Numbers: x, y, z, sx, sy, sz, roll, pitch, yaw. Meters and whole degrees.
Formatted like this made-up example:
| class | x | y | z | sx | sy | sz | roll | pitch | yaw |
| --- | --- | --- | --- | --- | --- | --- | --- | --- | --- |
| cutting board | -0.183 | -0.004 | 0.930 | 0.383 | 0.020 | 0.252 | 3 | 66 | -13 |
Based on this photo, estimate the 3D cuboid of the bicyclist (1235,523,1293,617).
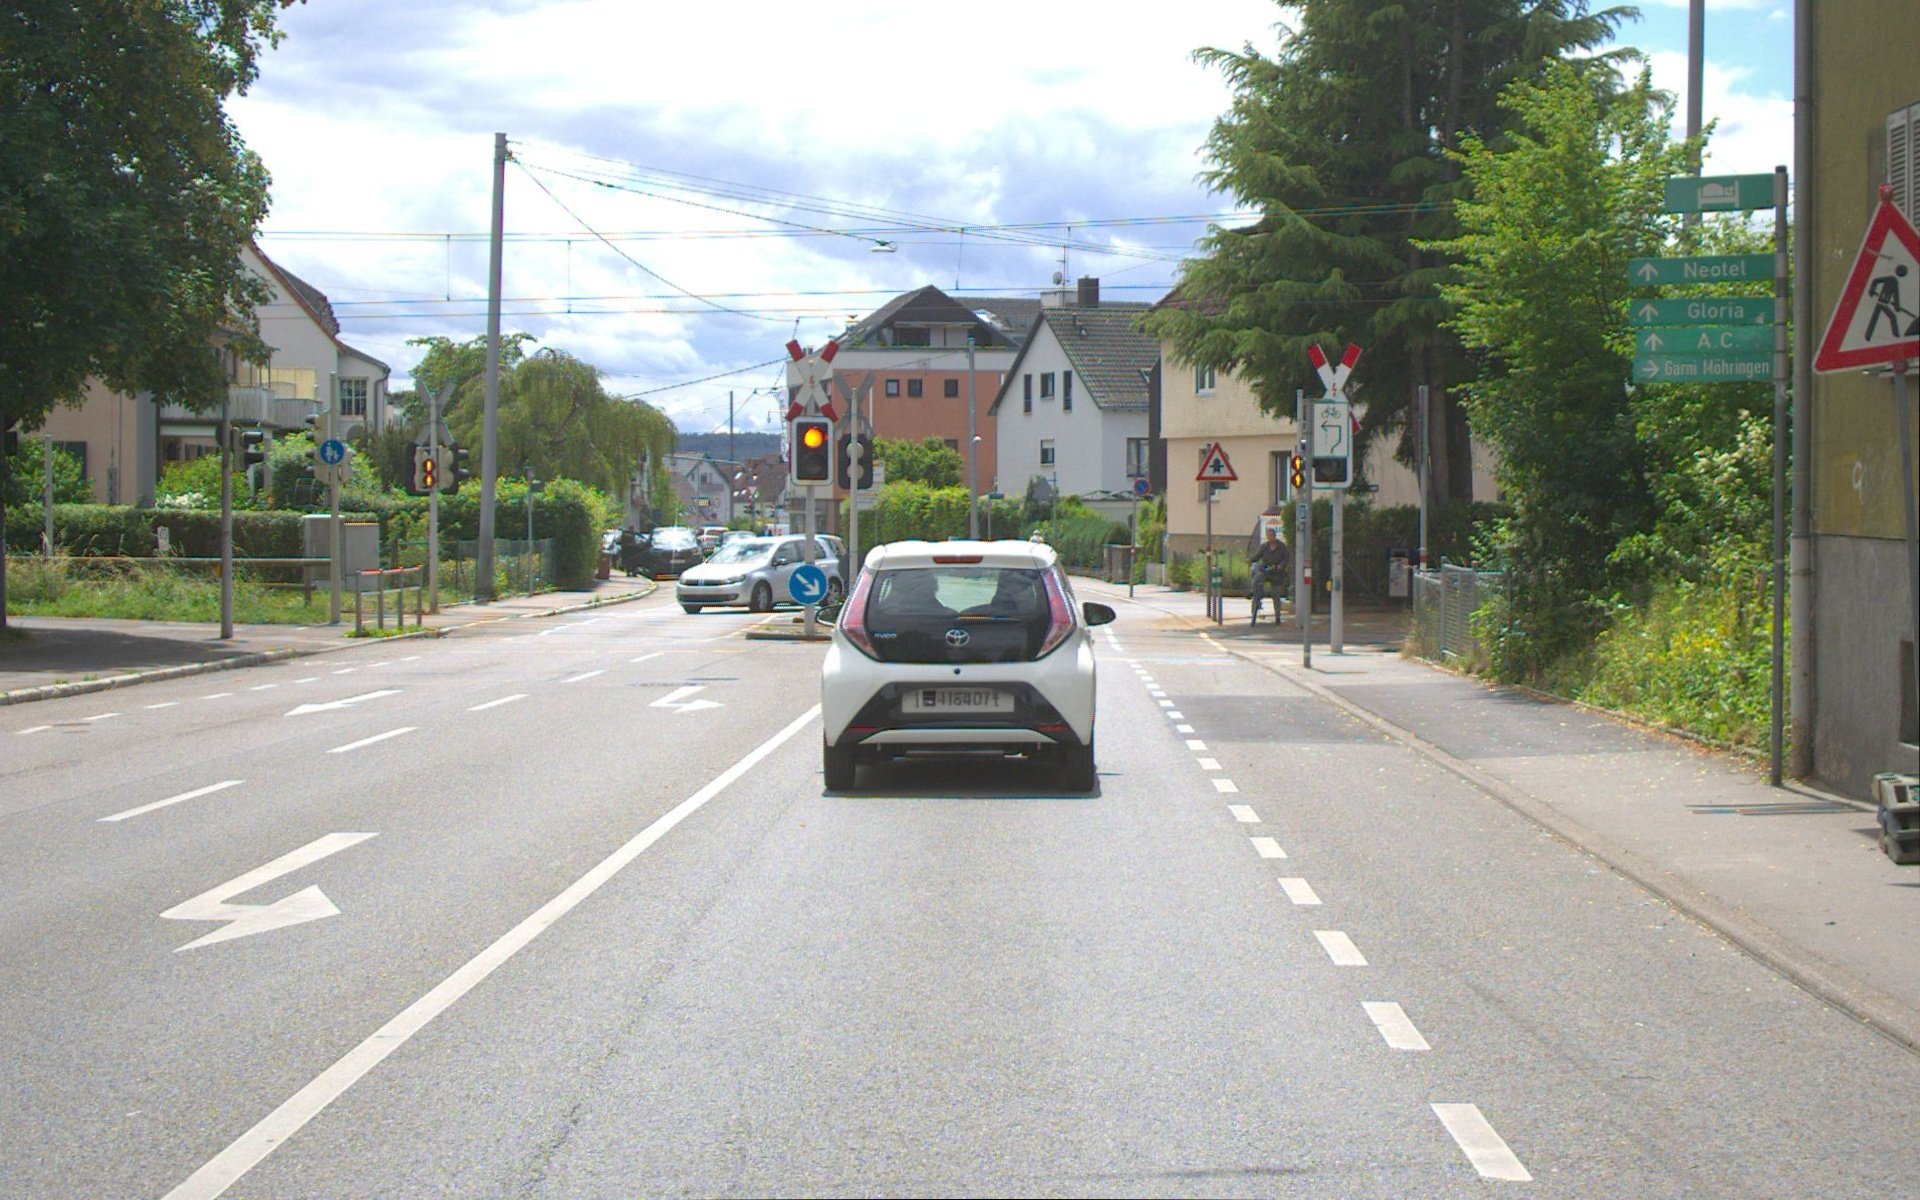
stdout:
| class | x | y | z | sx | sy | sz | roll | pitch | yaw |
| --- | --- | --- | --- | --- | --- | --- | --- | --- | --- |
| bicyclist | 5.241 | -0.516 | 59.295 | 0.840 | 1.548 | 0.756 | -3 | 3 | -4 |

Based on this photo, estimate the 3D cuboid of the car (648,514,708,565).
| class | x | y | z | sx | sy | sz | roll | pitch | yaw |
| --- | --- | --- | --- | --- | --- | --- | --- | --- | --- |
| car | -9.762 | -2.092 | 119.035 | 1.993 | 1.713 | 4.001 | 1 | 1 | -5 |

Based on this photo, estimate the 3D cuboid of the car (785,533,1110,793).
| class | x | y | z | sx | sy | sz | roll | pitch | yaw |
| --- | --- | --- | --- | --- | --- | --- | --- | --- | --- |
| car | 0.005 | 0.329 | 21.390 | 1.721 | 1.437 | 3.708 | 1 | 1 | 4 |

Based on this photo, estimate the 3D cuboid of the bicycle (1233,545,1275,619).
| class | x | y | z | sx | sy | sz | roll | pitch | yaw |
| --- | --- | --- | --- | --- | --- | --- | --- | --- | --- |
| bicycle | 5.076 | -0.320 | 59.362 | 0.457 | 1.168 | 1.480 | -3 | 3 | -4 |

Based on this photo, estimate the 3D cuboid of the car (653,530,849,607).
| class | x | y | z | sx | sy | sz | roll | pitch | yaw |
| --- | --- | --- | --- | --- | --- | --- | --- | --- | --- |
| car | -4.082 | -0.623 | 67.856 | 1.908 | 1.436 | 4.092 | 2 | 1 | 30 |
